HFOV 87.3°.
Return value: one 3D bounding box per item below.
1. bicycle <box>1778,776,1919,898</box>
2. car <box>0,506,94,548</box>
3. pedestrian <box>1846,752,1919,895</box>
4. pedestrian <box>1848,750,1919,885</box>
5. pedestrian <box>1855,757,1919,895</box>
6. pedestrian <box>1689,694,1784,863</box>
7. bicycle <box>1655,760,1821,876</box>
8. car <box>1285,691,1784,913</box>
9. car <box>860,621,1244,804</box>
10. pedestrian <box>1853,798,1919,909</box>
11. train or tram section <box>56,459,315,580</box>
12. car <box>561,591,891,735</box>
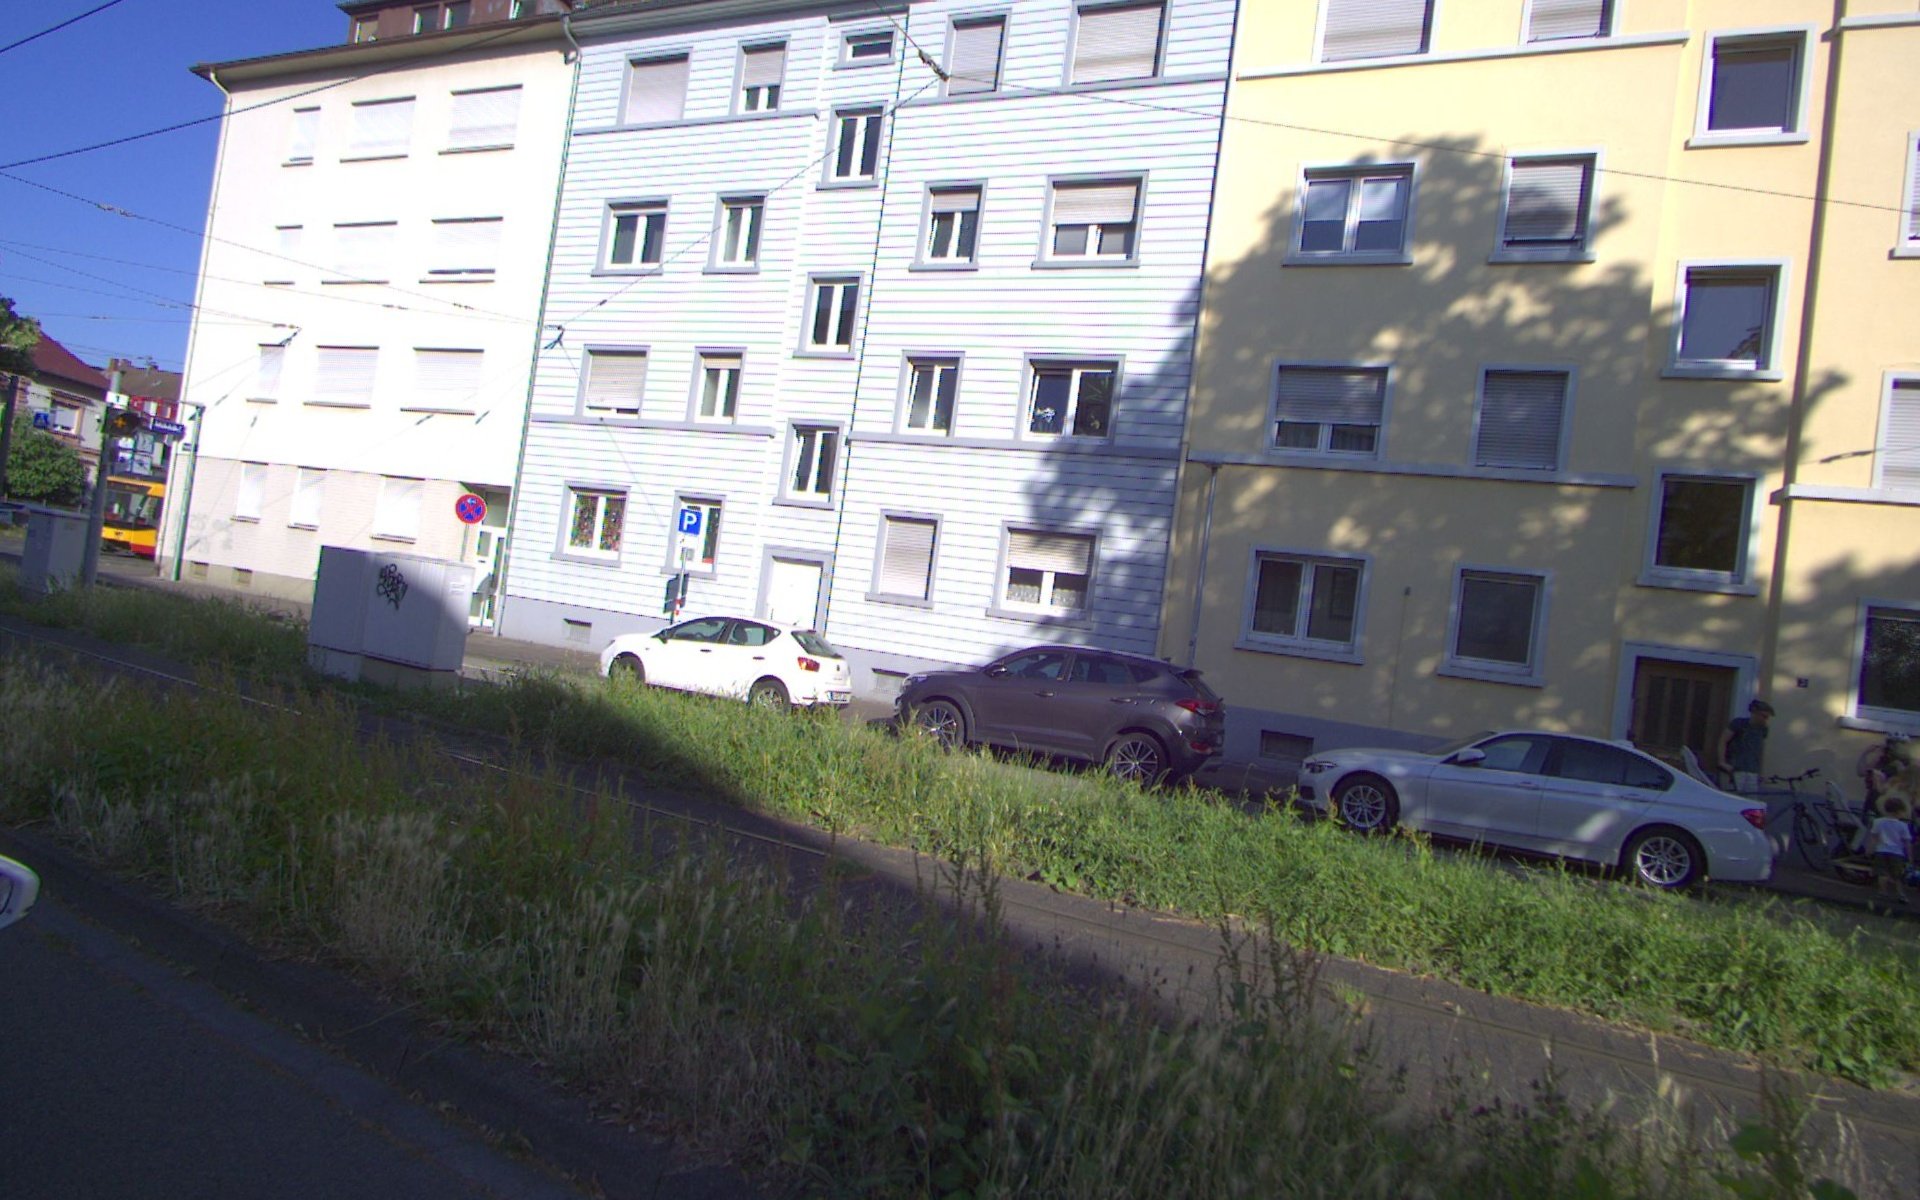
[{"bbox_3d":[10.955,2.807,11.563,2.265,1.145,0.536,6,-1,22],"label":"bicycle"},{"bbox_3d":[-43.623,-3.478,47.474,1.928,1.523,3.688,7,-1,7],"label":"car"},{"bbox_3d":[10.668,2.562,11.598,0.435,1.533,0.333,7,0,18],"label":"pedestrian"},{"bbox_3d":[11.246,2.633,12.233,0.435,1.533,0.305,7,0,14],"label":"pedestrian"},{"bbox_3d":[10.808,2.592,11.602,0.453,1.457,0.525,7,-1,23],"label":"pedestrian"},{"bbox_3d":[10.033,2.273,13.017,0.637,2.037,0.614,7,-1,22],"label":"pedestrian"},{"bbox_3d":[9.891,2.754,12.839,1.488,1.145,0.536,6,-1,22],"label":"bicycle"},{"bbox_3d":[6.054,2.070,11.268,4.364,1.403,2.001,8,-1,21],"label":"car"},{"bbox_3d":[1.237,1.384,13.322,4.556,1.591,2.001,7,-1,21],"label":"car"},{"bbox_3d":[10.236,2.771,11.030,0.453,1.078,0.433,7,-1,23],"label":"pedestrian"},{"bbox_3d":[-32.207,-3.134,42.655,2.733,3.596,9.928,8,-2,1],"label":"train or tram section"},{"bbox_3d":[-3.515,0.916,15.298,4.363,1.403,2.001,8,-1,19],"label":"car"}]
